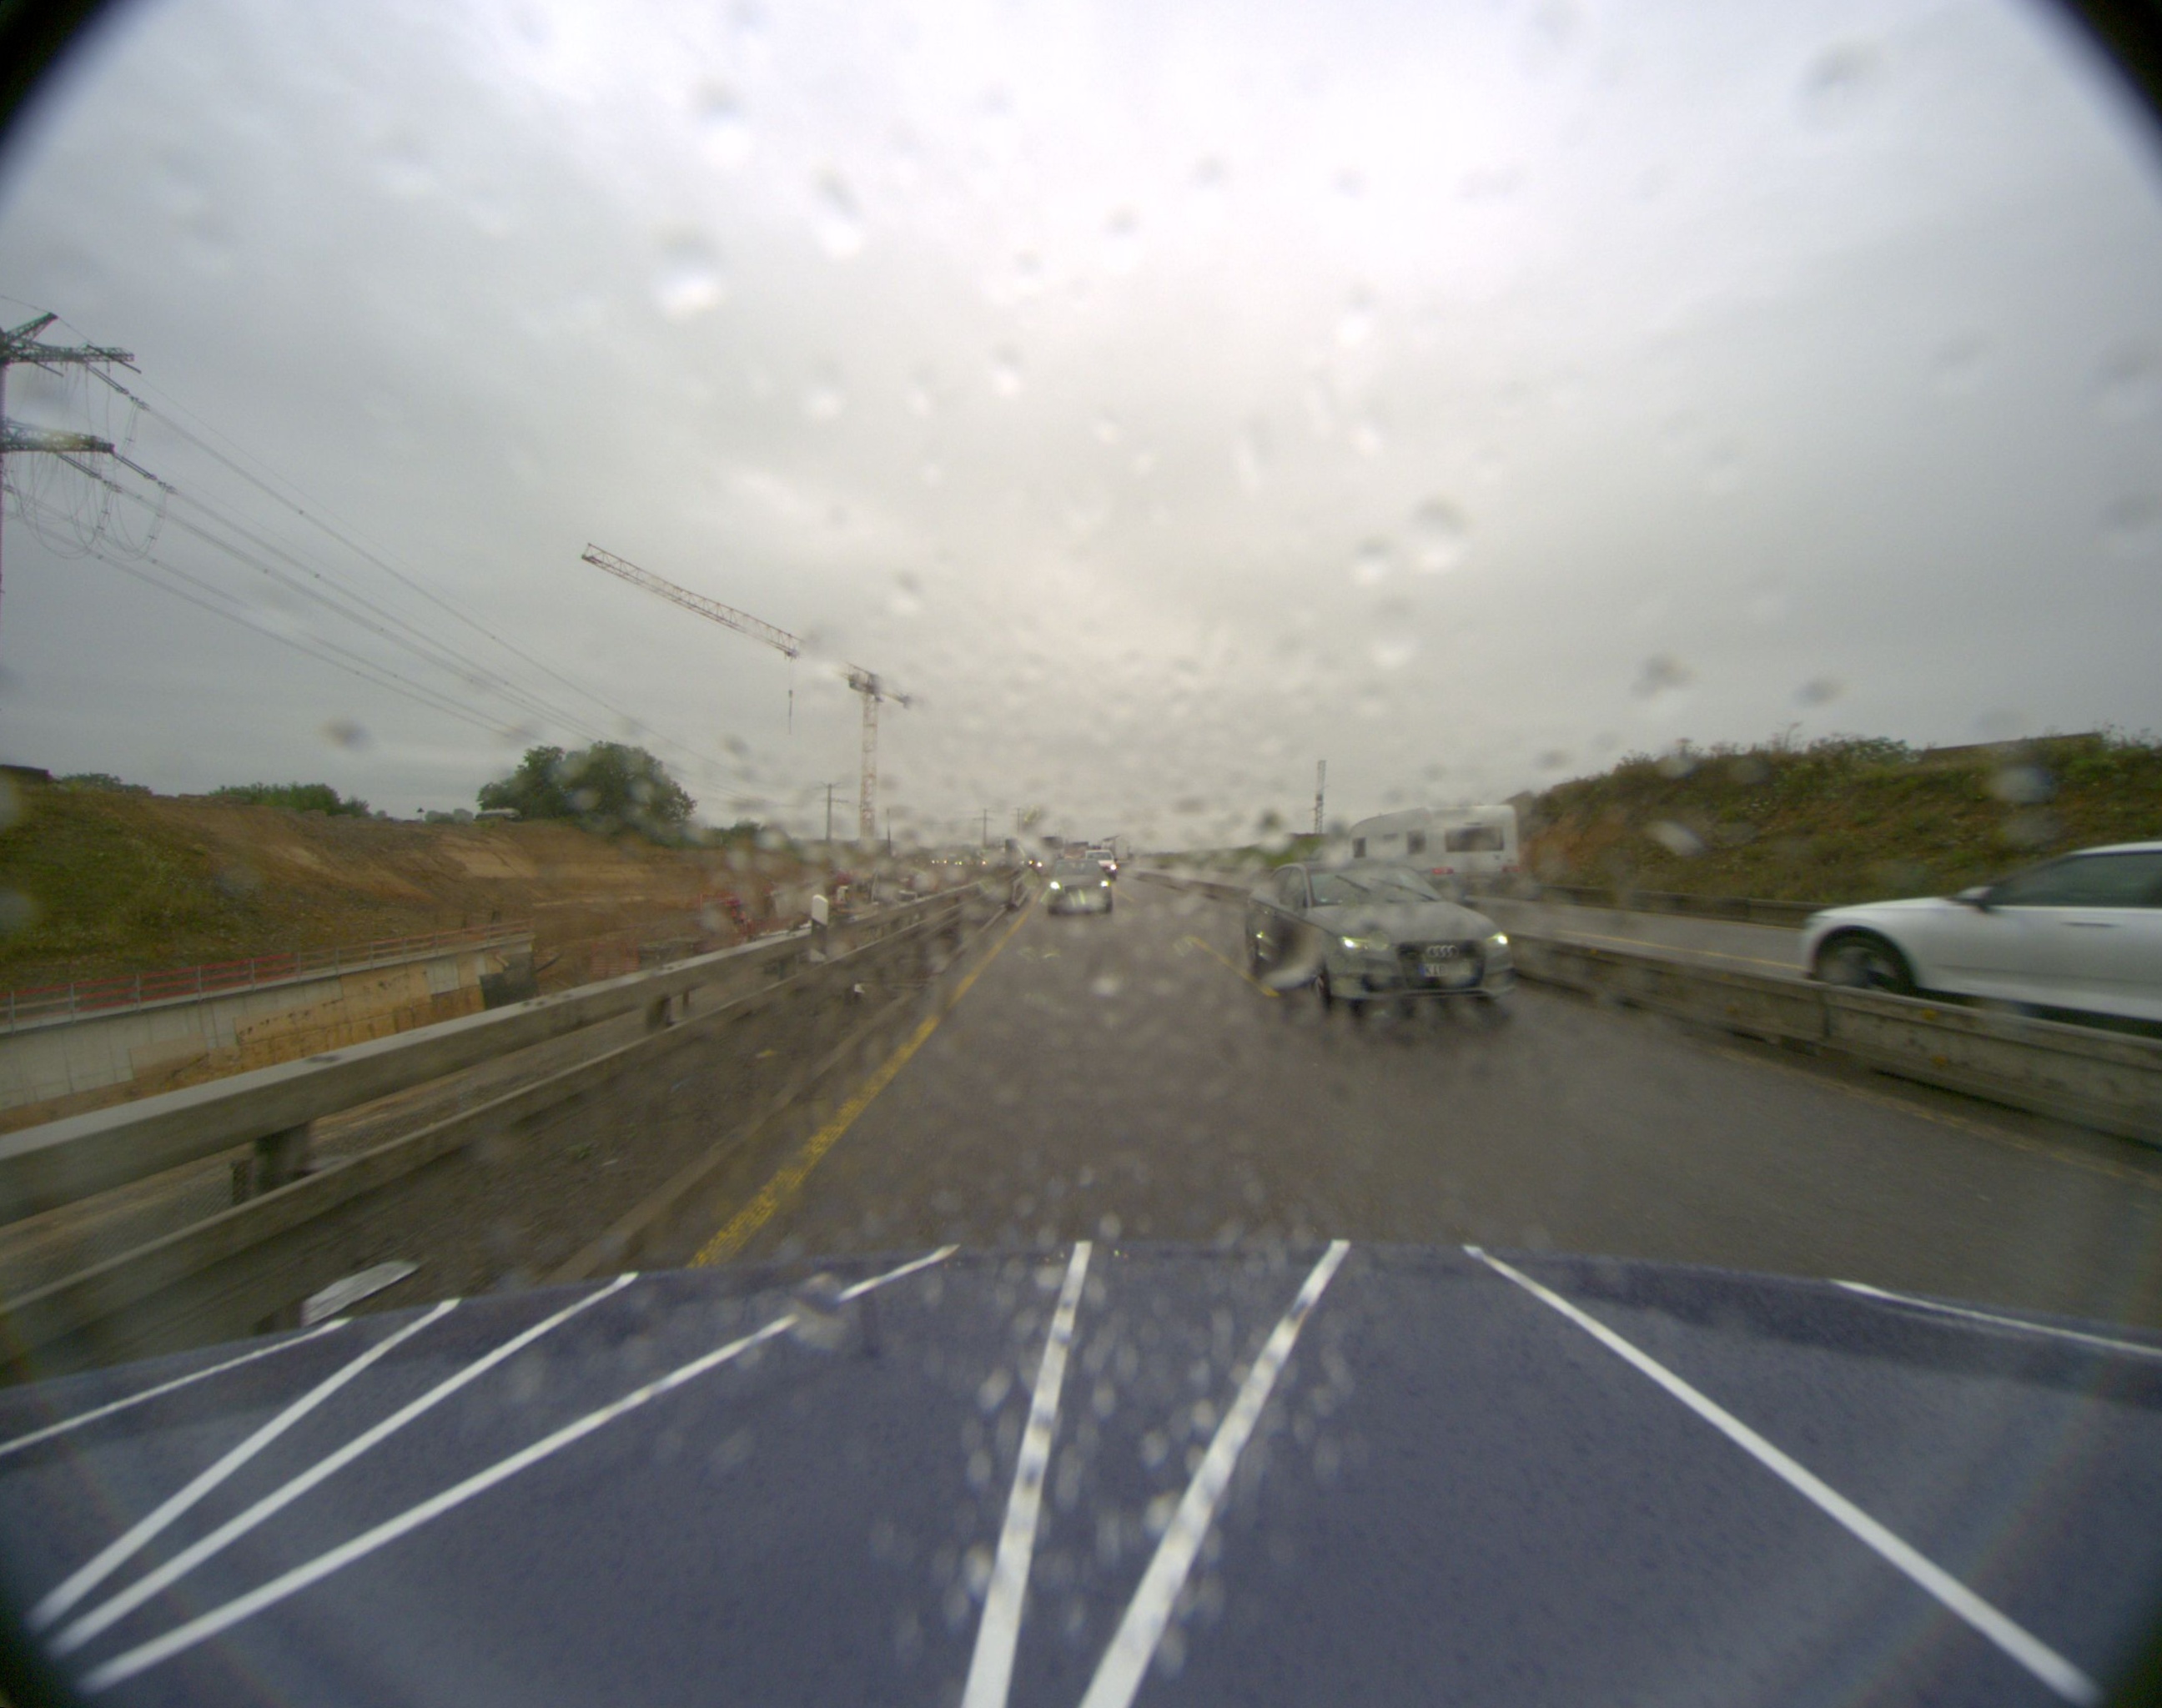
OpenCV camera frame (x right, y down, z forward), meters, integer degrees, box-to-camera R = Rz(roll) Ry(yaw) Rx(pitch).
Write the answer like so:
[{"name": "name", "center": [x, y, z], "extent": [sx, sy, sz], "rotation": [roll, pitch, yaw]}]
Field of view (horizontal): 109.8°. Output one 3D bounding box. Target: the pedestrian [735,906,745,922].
[{"name": "pedestrian", "center": [-38.913, 6.854, 86.684], "extent": [0.488, 1.794, 0.583], "rotation": [-5, 2, 34]}]

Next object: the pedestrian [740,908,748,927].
[{"name": "pedestrian", "center": [-39.029, 7.316, 88.048], "extent": [0.489, 2.088, 0.481], "rotation": [-7, 2, -6]}]

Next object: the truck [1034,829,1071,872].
[{"name": "truck", "center": [-2.576, -0.334, 66.151], "extent": [2.857, 3.462, 8.640], "rotation": [-2, 1, -4]}]

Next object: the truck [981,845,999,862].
[{"name": "truck", "center": [-22.781, -0.078, 190.257], "extent": [3.549, 3.871, 8.326], "rotation": [-3, 1, -12]}]

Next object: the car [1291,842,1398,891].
[{"name": "car", "center": [9.704, 0.412, 28.505], "extent": [1.999, 1.577, 5.118], "rotation": [-3, 0, -2]}]

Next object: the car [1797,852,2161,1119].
[{"name": "car", "center": [7.193, 0.755, 4.441], "extent": [1.882, 1.491, 4.335], "rotation": [-3, -1, 0]}]

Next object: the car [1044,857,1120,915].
[{"name": "car", "center": [-0.074, 0.864, 22.471], "extent": [1.875, 1.481, 4.259], "rotation": [-2, 0, -4]}]

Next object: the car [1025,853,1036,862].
[{"name": "car", "center": [-9.627, 0.699, 144.377], "extent": [1.790, 1.646, 3.997], "rotation": [-3, 1, -9]}]

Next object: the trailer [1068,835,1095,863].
[{"name": "trailer", "center": [-0.011, -0.742, 127.860], "extent": [3.004, 4.395, 15.693], "rotation": [0, 0, -6]}]

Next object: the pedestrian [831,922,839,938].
[{"name": "pedestrian", "center": [-26.563, 8.208, 82.037], "extent": [0.603, 1.759, 0.481], "rotation": [2, 1, -6]}]

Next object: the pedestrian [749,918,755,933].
[{"name": "pedestrian", "center": [-38.408, 8.367, 88.783], "extent": [0.489, 1.750, 0.481], "rotation": [1, 1, -6]}]

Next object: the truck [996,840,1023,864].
[{"name": "truck", "center": [-14.315, -0.448, 150.261], "extent": [4.321, 4.319, 13.396], "rotation": [-3, 1, -9]}]

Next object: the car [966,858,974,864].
[{"name": "car", "center": [-30.273, 1.923, 207.153], "extent": [1.791, 1.418, 3.995], "rotation": [-3, 1, -15]}]

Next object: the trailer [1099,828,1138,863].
[{"name": "trailer", "center": [4.427, -1.015, 93.044], "extent": [3.265, 3.941, 11.530], "rotation": [-2, 1, -5]}]

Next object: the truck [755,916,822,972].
[{"name": "truck", "center": [-25.617, 7.787, 67.036], "extent": [2.710, 3.591, 9.069], "rotation": [0, 2, -3]}]

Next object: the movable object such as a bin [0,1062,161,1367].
[{"name": "movable object such as a bin", "center": [-25.481, 8.350, 12.641], "extent": [4.906, 5.640, 12.084], "rotation": [-4, 3, 1]}]

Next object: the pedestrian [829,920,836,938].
[{"name": "pedestrian", "center": [-27.466, 8.312, 83.969], "extent": [0.603, 1.894, 0.481], "rotation": [1, 1, -6]}]

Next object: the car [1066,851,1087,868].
[{"name": "car", "center": [-0.528, 0.603, 83.651], "extent": [1.790, 1.744, 3.997], "rotation": [-3, 1, -6]}]

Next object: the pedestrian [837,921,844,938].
[{"name": "pedestrian", "center": [-26.438, 8.308, 83.526], "extent": [0.603, 1.894, 0.481], "rotation": [0, 1, -6]}]

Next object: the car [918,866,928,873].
[{"name": "car", "center": [-43.968, 4.311, 211.481], "extent": [2.352, 1.609, 4.855], "rotation": [-1, 1, -7]}]

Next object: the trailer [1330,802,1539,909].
[{"name": "trailer", "center": [9.923, 0.033, 22.341], "extent": [2.517, 2.549, 7.161], "rotation": [-3, 0, -2]}]

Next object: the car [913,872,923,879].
[{"name": "car", "center": [-39.225, 5.226, 183.026], "extent": [1.861, 1.609, 4.077], "rotation": [-1, 1, -7]}]

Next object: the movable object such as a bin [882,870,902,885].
[{"name": "movable object such as a bin", "center": [-40.867, 5.122, 164.156], "extent": [3.503, 2.865, 3.997], "rotation": [4, 0, -7]}]

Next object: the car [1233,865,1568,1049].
[{"name": "car", "center": [3.085, 0.885, 8.382], "extent": [1.805, 1.375, 4.086], "rotation": [-2, 1, -3]}]

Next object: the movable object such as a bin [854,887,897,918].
[{"name": "movable object such as a bin", "center": [-27.250, 6.331, 101.108], "extent": [3.516, 3.405, 6.652], "rotation": [-2, 2, 3]}]

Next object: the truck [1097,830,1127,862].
[{"name": "truck", "center": [3.957, -1.047, 98.892], "extent": [3.240, 3.933, 5.878], "rotation": [-2, 1, -4]}]

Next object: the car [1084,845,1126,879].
[{"name": "car", "center": [1.435, 0.459, 47.320], "extent": [2.070, 1.934, 5.154], "rotation": [-2, 1, -3]}]
